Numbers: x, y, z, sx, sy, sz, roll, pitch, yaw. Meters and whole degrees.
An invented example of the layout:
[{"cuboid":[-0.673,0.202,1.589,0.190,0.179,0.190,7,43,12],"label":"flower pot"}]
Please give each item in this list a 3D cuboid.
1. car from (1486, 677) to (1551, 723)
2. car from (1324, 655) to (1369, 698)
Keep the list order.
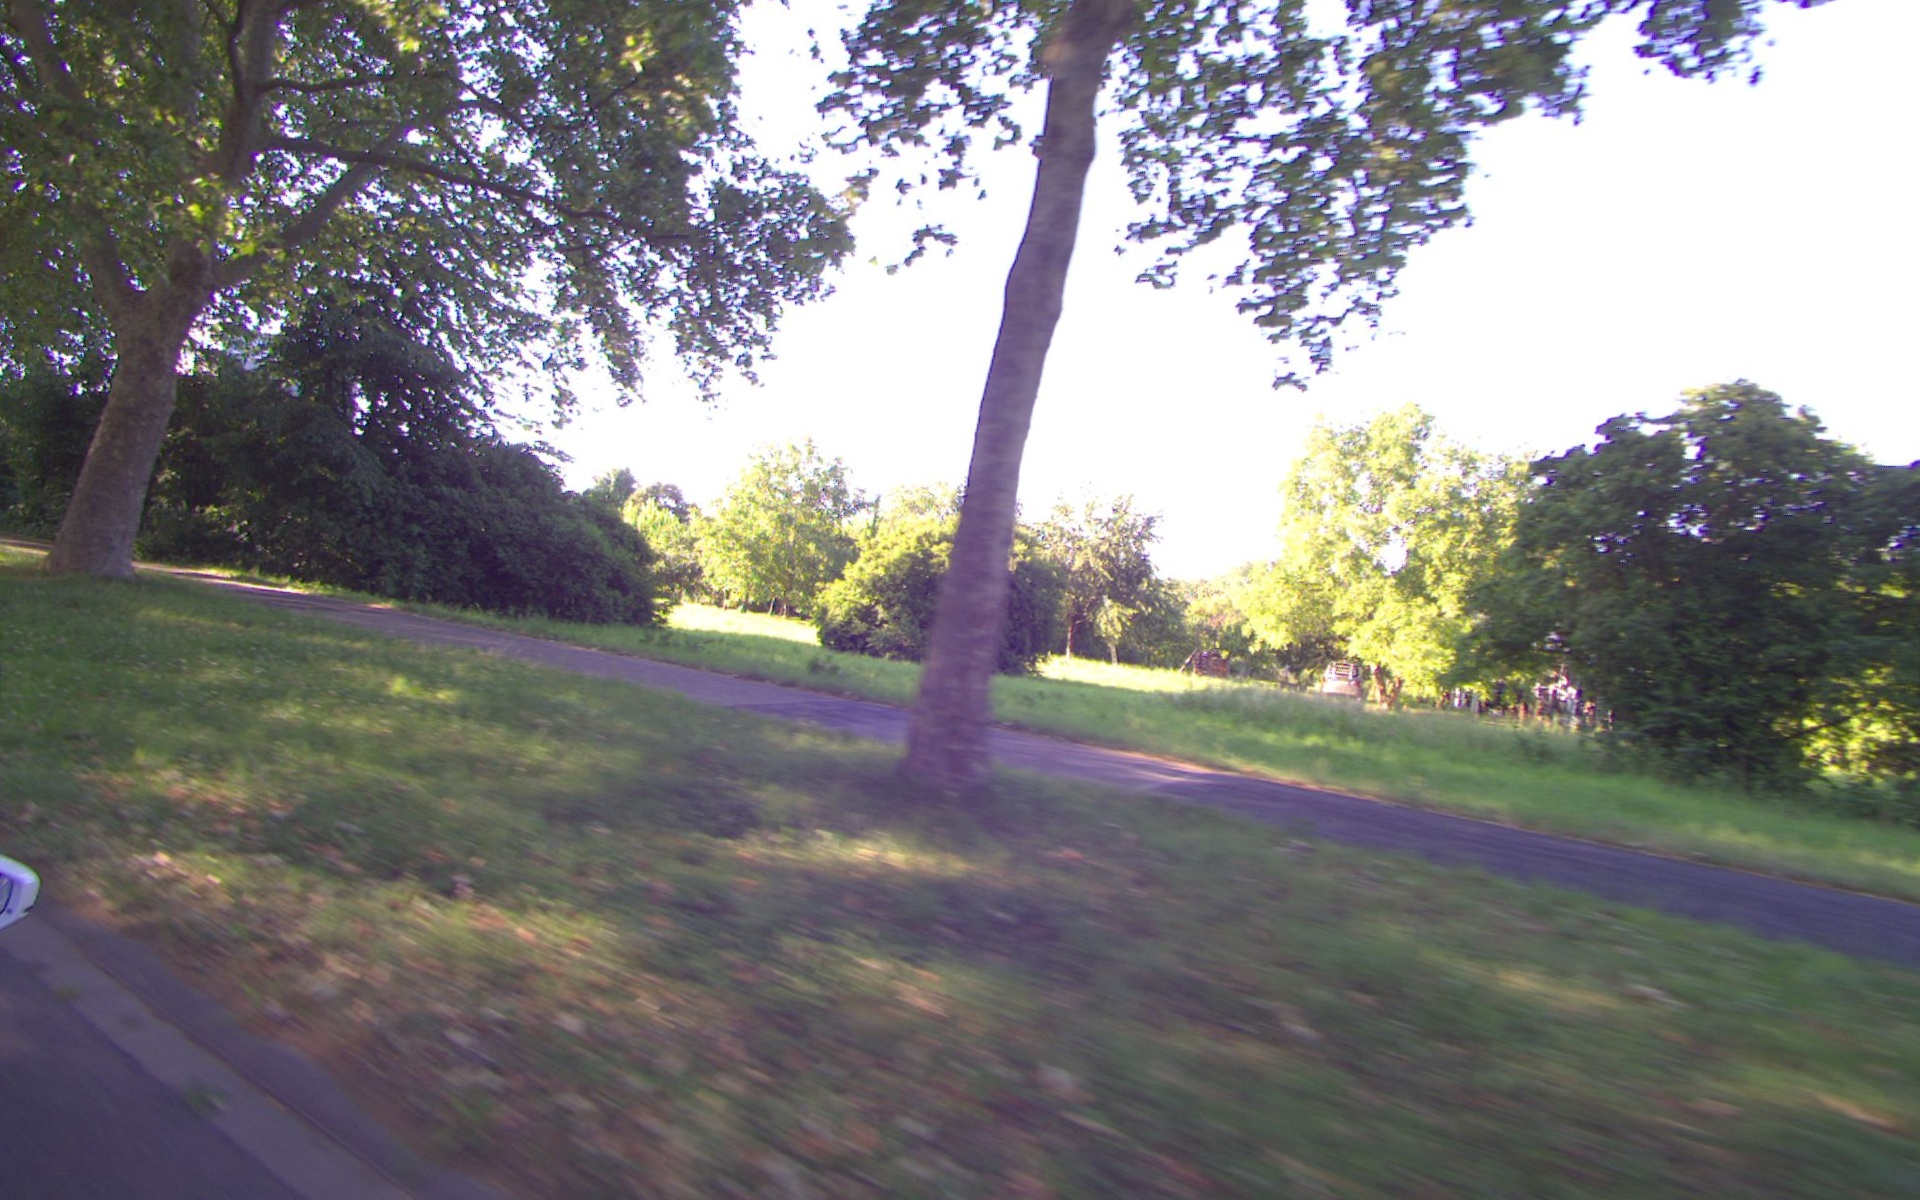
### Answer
[{"cuboid":[29.038,5.220,52.258,1.973,2.036,3.983,4,-3,42],"label":"car"},{"cuboid":[20.130,4.020,52.504,1.898,1.969,4.004,6,-3,19],"label":"car"}]
